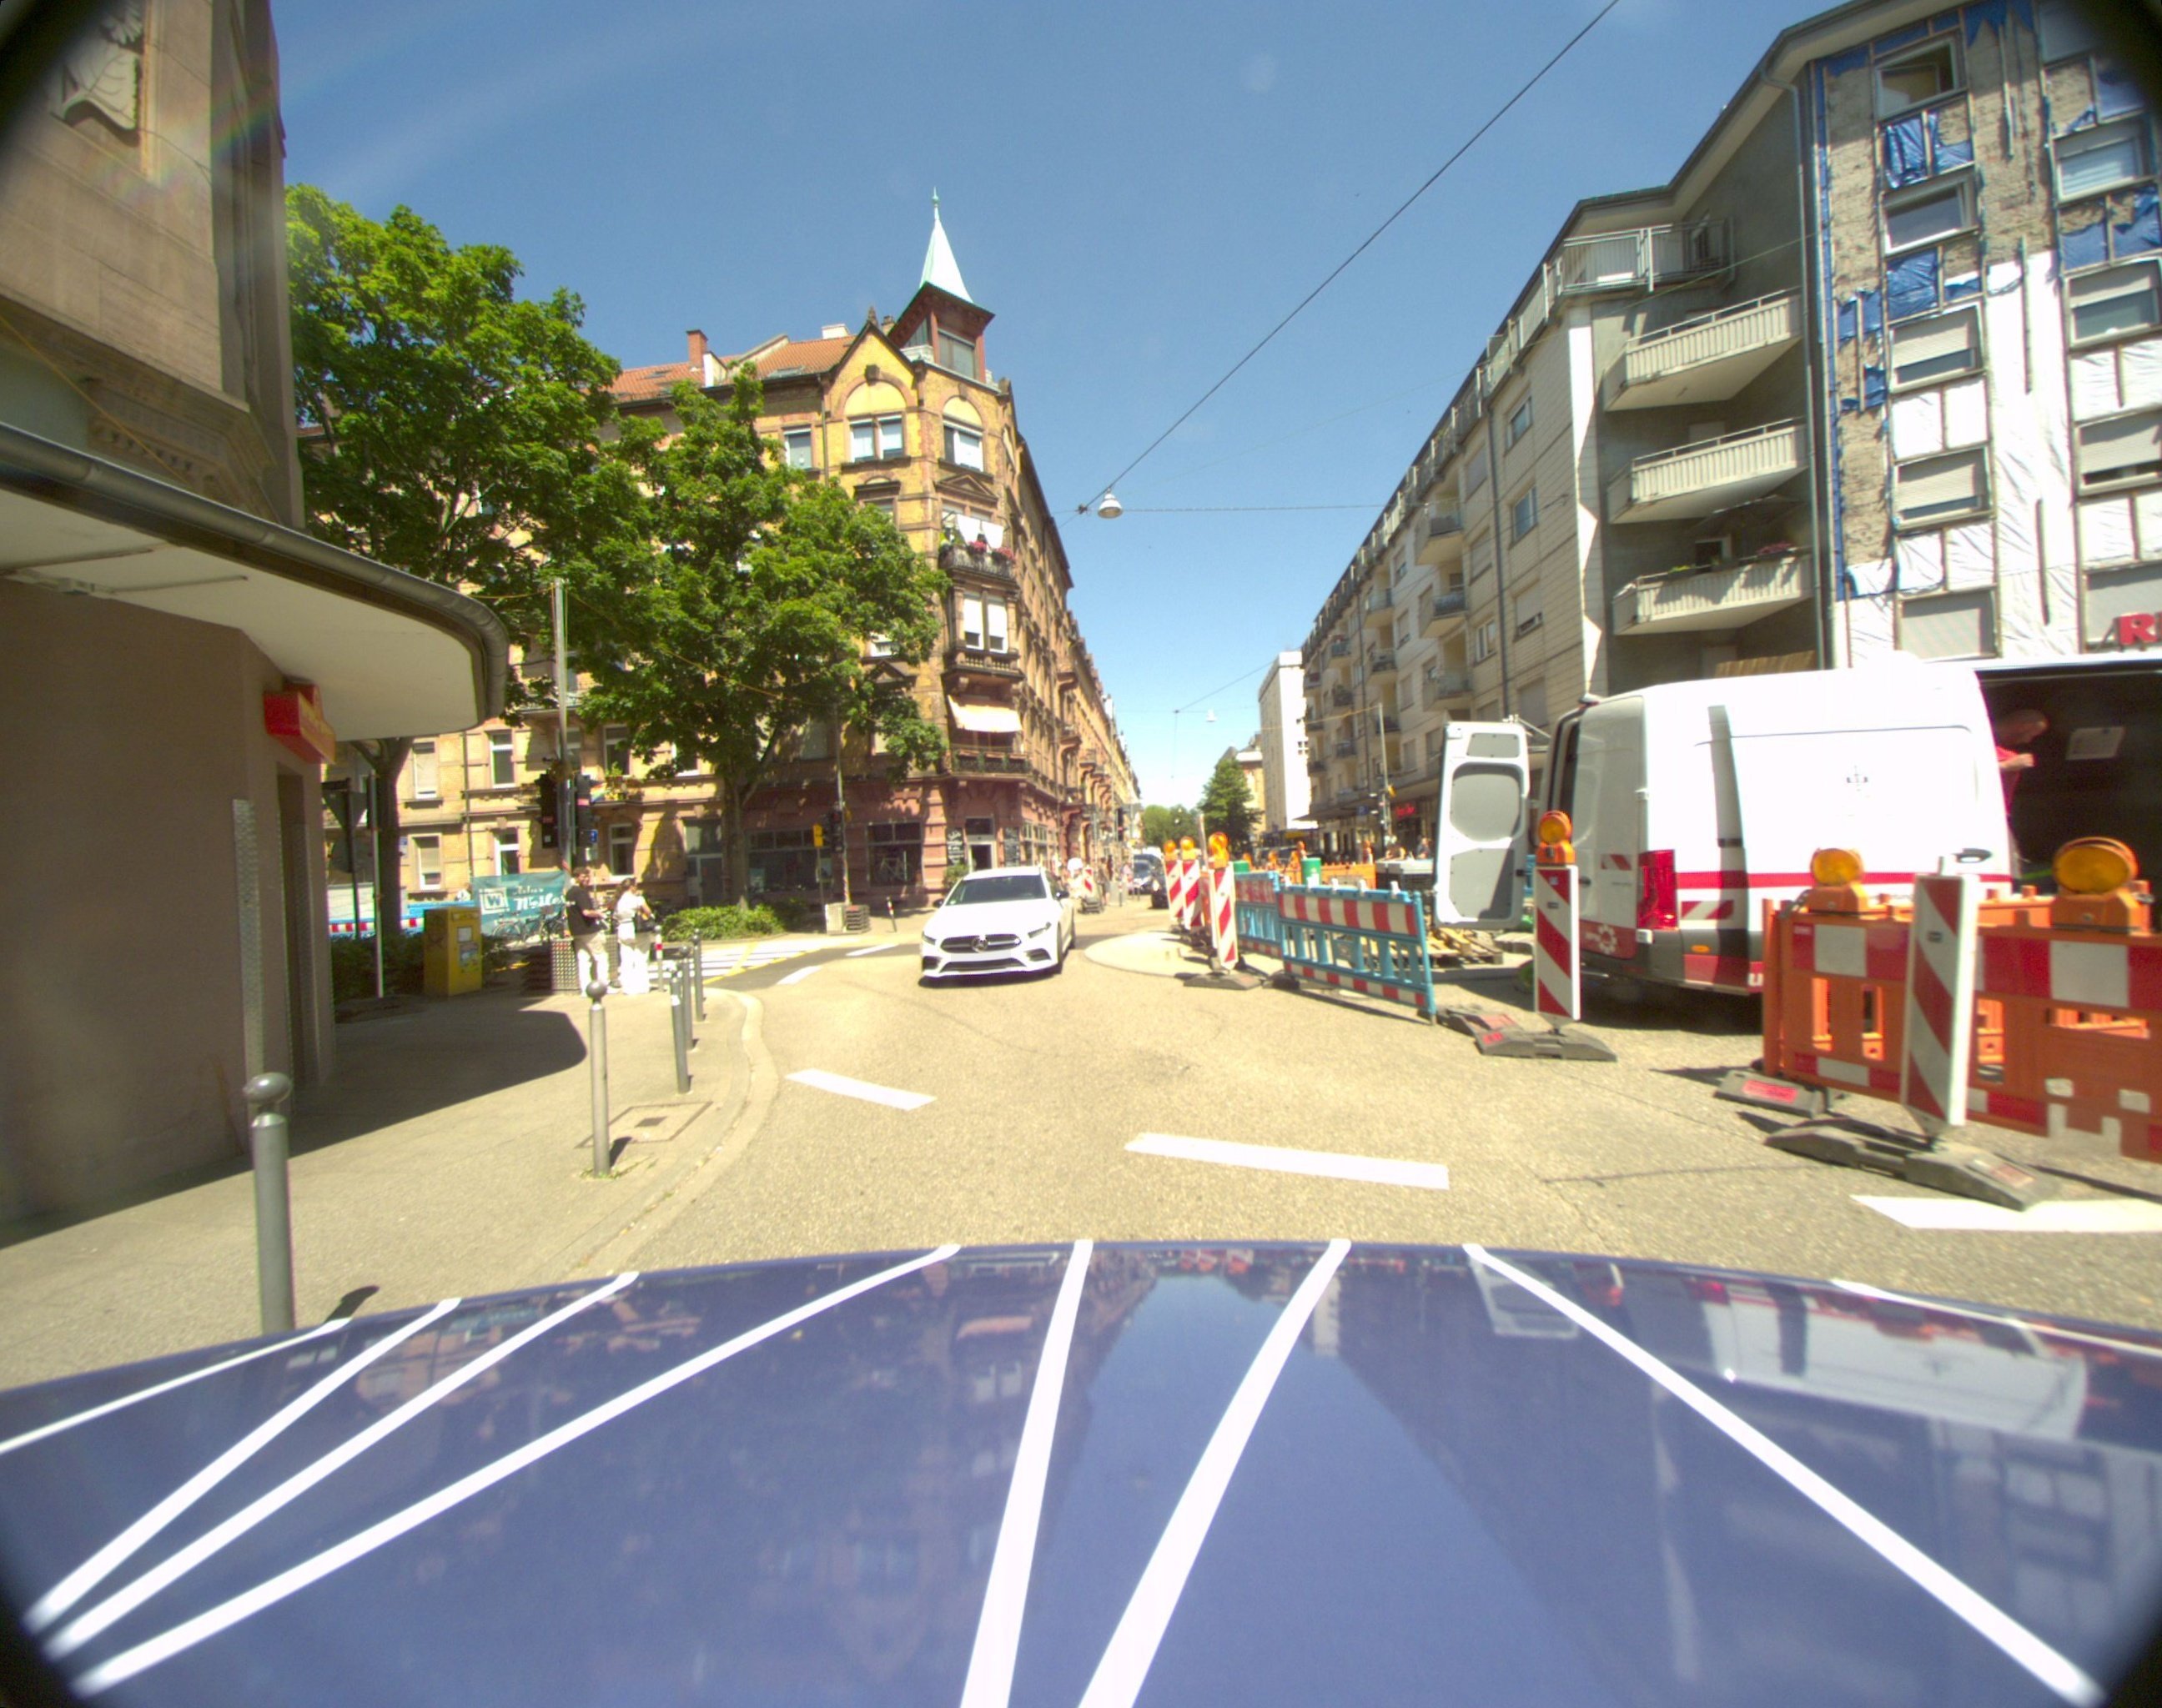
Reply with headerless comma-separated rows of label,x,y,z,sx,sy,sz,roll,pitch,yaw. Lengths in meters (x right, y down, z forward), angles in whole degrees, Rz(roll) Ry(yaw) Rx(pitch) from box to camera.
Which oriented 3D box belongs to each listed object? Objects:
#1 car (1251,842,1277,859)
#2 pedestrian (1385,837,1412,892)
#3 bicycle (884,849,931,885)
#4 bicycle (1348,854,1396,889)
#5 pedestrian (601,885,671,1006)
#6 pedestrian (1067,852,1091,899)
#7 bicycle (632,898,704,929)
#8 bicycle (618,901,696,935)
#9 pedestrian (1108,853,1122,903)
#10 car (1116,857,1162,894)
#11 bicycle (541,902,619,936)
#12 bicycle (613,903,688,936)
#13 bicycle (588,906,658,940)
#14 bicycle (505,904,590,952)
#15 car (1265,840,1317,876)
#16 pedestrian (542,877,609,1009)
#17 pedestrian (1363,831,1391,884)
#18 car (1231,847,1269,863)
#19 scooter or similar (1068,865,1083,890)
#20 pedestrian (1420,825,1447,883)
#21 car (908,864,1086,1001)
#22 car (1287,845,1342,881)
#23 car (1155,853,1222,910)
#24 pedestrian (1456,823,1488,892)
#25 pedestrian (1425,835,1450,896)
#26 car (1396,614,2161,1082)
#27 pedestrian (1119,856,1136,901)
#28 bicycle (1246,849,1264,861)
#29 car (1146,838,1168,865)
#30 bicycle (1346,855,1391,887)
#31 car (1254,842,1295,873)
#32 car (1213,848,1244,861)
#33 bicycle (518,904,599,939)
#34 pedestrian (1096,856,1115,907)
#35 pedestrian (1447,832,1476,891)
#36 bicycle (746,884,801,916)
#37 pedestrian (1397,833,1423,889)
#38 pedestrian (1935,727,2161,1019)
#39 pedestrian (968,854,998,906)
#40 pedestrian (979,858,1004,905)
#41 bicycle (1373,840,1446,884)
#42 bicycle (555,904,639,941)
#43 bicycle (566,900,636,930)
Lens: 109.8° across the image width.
car,16.628,-0.311,69.060,1.813,1.417,3.894,-3,0,7
pedestrian,9.543,0.316,22.851,0.542,1.623,0.511,-3,1,4
bicycle,-5.972,0.455,26.109,1.424,1.145,0.510,-3,1,9
bicycle,10.498,0.632,27.433,1.523,1.110,0.335,-5,0,3
pedestrian,-6.208,1.260,10.625,0.703,1.635,0.423,-1,-3,-1
pedestrian,-0.087,0.808,29.158,0.478,1.723,0.873,-3,2,26
bicycle,-12.803,1.841,23.547,2.072,0.867,0.509,-3,0,10
bicycle,-12.201,1.844,21.868,2.072,0.867,0.509,-3,0,10
pedestrian,1.148,0.805,25.604,0.333,1.666,0.402,-3,1,13
car,2.625,0.914,33.707,1.630,1.424,3.663,-2,0,10
bicycle,-14.540,1.888,22.062,2.072,0.867,0.509,-3,0,10
bicycle,-12.991,1.986,22.933,2.072,0.867,0.509,-3,0,10
bicycle,-12.805,1.928,21.246,1.743,0.867,0.509,-3,0,10
bicycle,-13.987,1.936,19.929,1.783,1.101,0.509,-3,2,1
car,11.786,0.208,42.979,1.793,1.800,4.700,-4,0,4
pedestrian,-6.949,1.202,10.457,0.576,1.757,0.471,-1,-3,-1
pedestrian,9.855,0.120,25.317,0.657,1.716,0.633,-3,1,4
car,18.746,0.104,84.165,3.883,1.520,1.653,-3,0,6
scooter or similar,-0.255,1.148,37.266,0.293,1.170,1.273,-3,0,16
pedestrian,11.098,0.005,23.934,0.510,1.760,0.600,-3,1,4
car,-0.998,0.969,11.180,1.813,1.417,4.242,-4,1,3
car,11.078,0.396,36.319,1.673,1.516,4.466,-4,0,7
car,3.267,0.770,23.489,1.779,1.460,4.002,-5,0,7
pedestrian,10.644,0.094,20.686,0.510,1.809,0.600,-3,1,4
pedestrian,9.622,0.317,20.500,0.390,1.608,0.475,-3,1,4
car,6.227,-0.053,5.724,6.635,2.736,2.380,-3,1,7
pedestrian,1.649,0.858,26.776,0.493,1.534,0.437,-1,1,13
bicycle,16.742,0.109,73.255,1.608,1.084,0.371,-5,0,12
car,8.429,-0.287,84.153,2.067,2.686,5.041,-5,0,7
bicycle,10.545,0.635,27.885,1.451,1.030,0.335,-5,0,3
car,12.409,0.206,49.050,1.792,1.818,4.903,-4,0,7
car,19.784,0.048,102.201,3.883,1.487,1.653,-3,0,6
bicycle,-14.775,1.897,21.488,2.072,0.867,0.509,-3,0,10
pedestrian,0.785,0.869,24.153,0.460,1.551,0.479,-3,1,13
pedestrian,10.912,0.215,21.806,0.510,1.623,0.600,-3,1,4
bicycle,-10.600,1.580,26.198,1.694,1.002,0.523,-3,0,7
pedestrian,9.440,0.190,21.810,0.496,1.556,0.460,-5,-1,33
pedestrian,6.361,0.120,4.998,0.525,1.743,0.769,-5,0,7
pedestrian,-3.531,0.929,27.490,0.943,1.809,0.455,-3,4,-40
pedestrian,-3.379,1.028,28.798,0.725,1.709,0.495,-3,3,-39
bicycle,9.352,0.222,21.645,1.806,1.112,0.468,-5,0,28
bicycle,-13.097,1.856,20.565,2.072,0.867,0.509,-3,0,10
bicycle,-15.599,1.979,24.688,2.072,0.867,0.509,-3,0,10
